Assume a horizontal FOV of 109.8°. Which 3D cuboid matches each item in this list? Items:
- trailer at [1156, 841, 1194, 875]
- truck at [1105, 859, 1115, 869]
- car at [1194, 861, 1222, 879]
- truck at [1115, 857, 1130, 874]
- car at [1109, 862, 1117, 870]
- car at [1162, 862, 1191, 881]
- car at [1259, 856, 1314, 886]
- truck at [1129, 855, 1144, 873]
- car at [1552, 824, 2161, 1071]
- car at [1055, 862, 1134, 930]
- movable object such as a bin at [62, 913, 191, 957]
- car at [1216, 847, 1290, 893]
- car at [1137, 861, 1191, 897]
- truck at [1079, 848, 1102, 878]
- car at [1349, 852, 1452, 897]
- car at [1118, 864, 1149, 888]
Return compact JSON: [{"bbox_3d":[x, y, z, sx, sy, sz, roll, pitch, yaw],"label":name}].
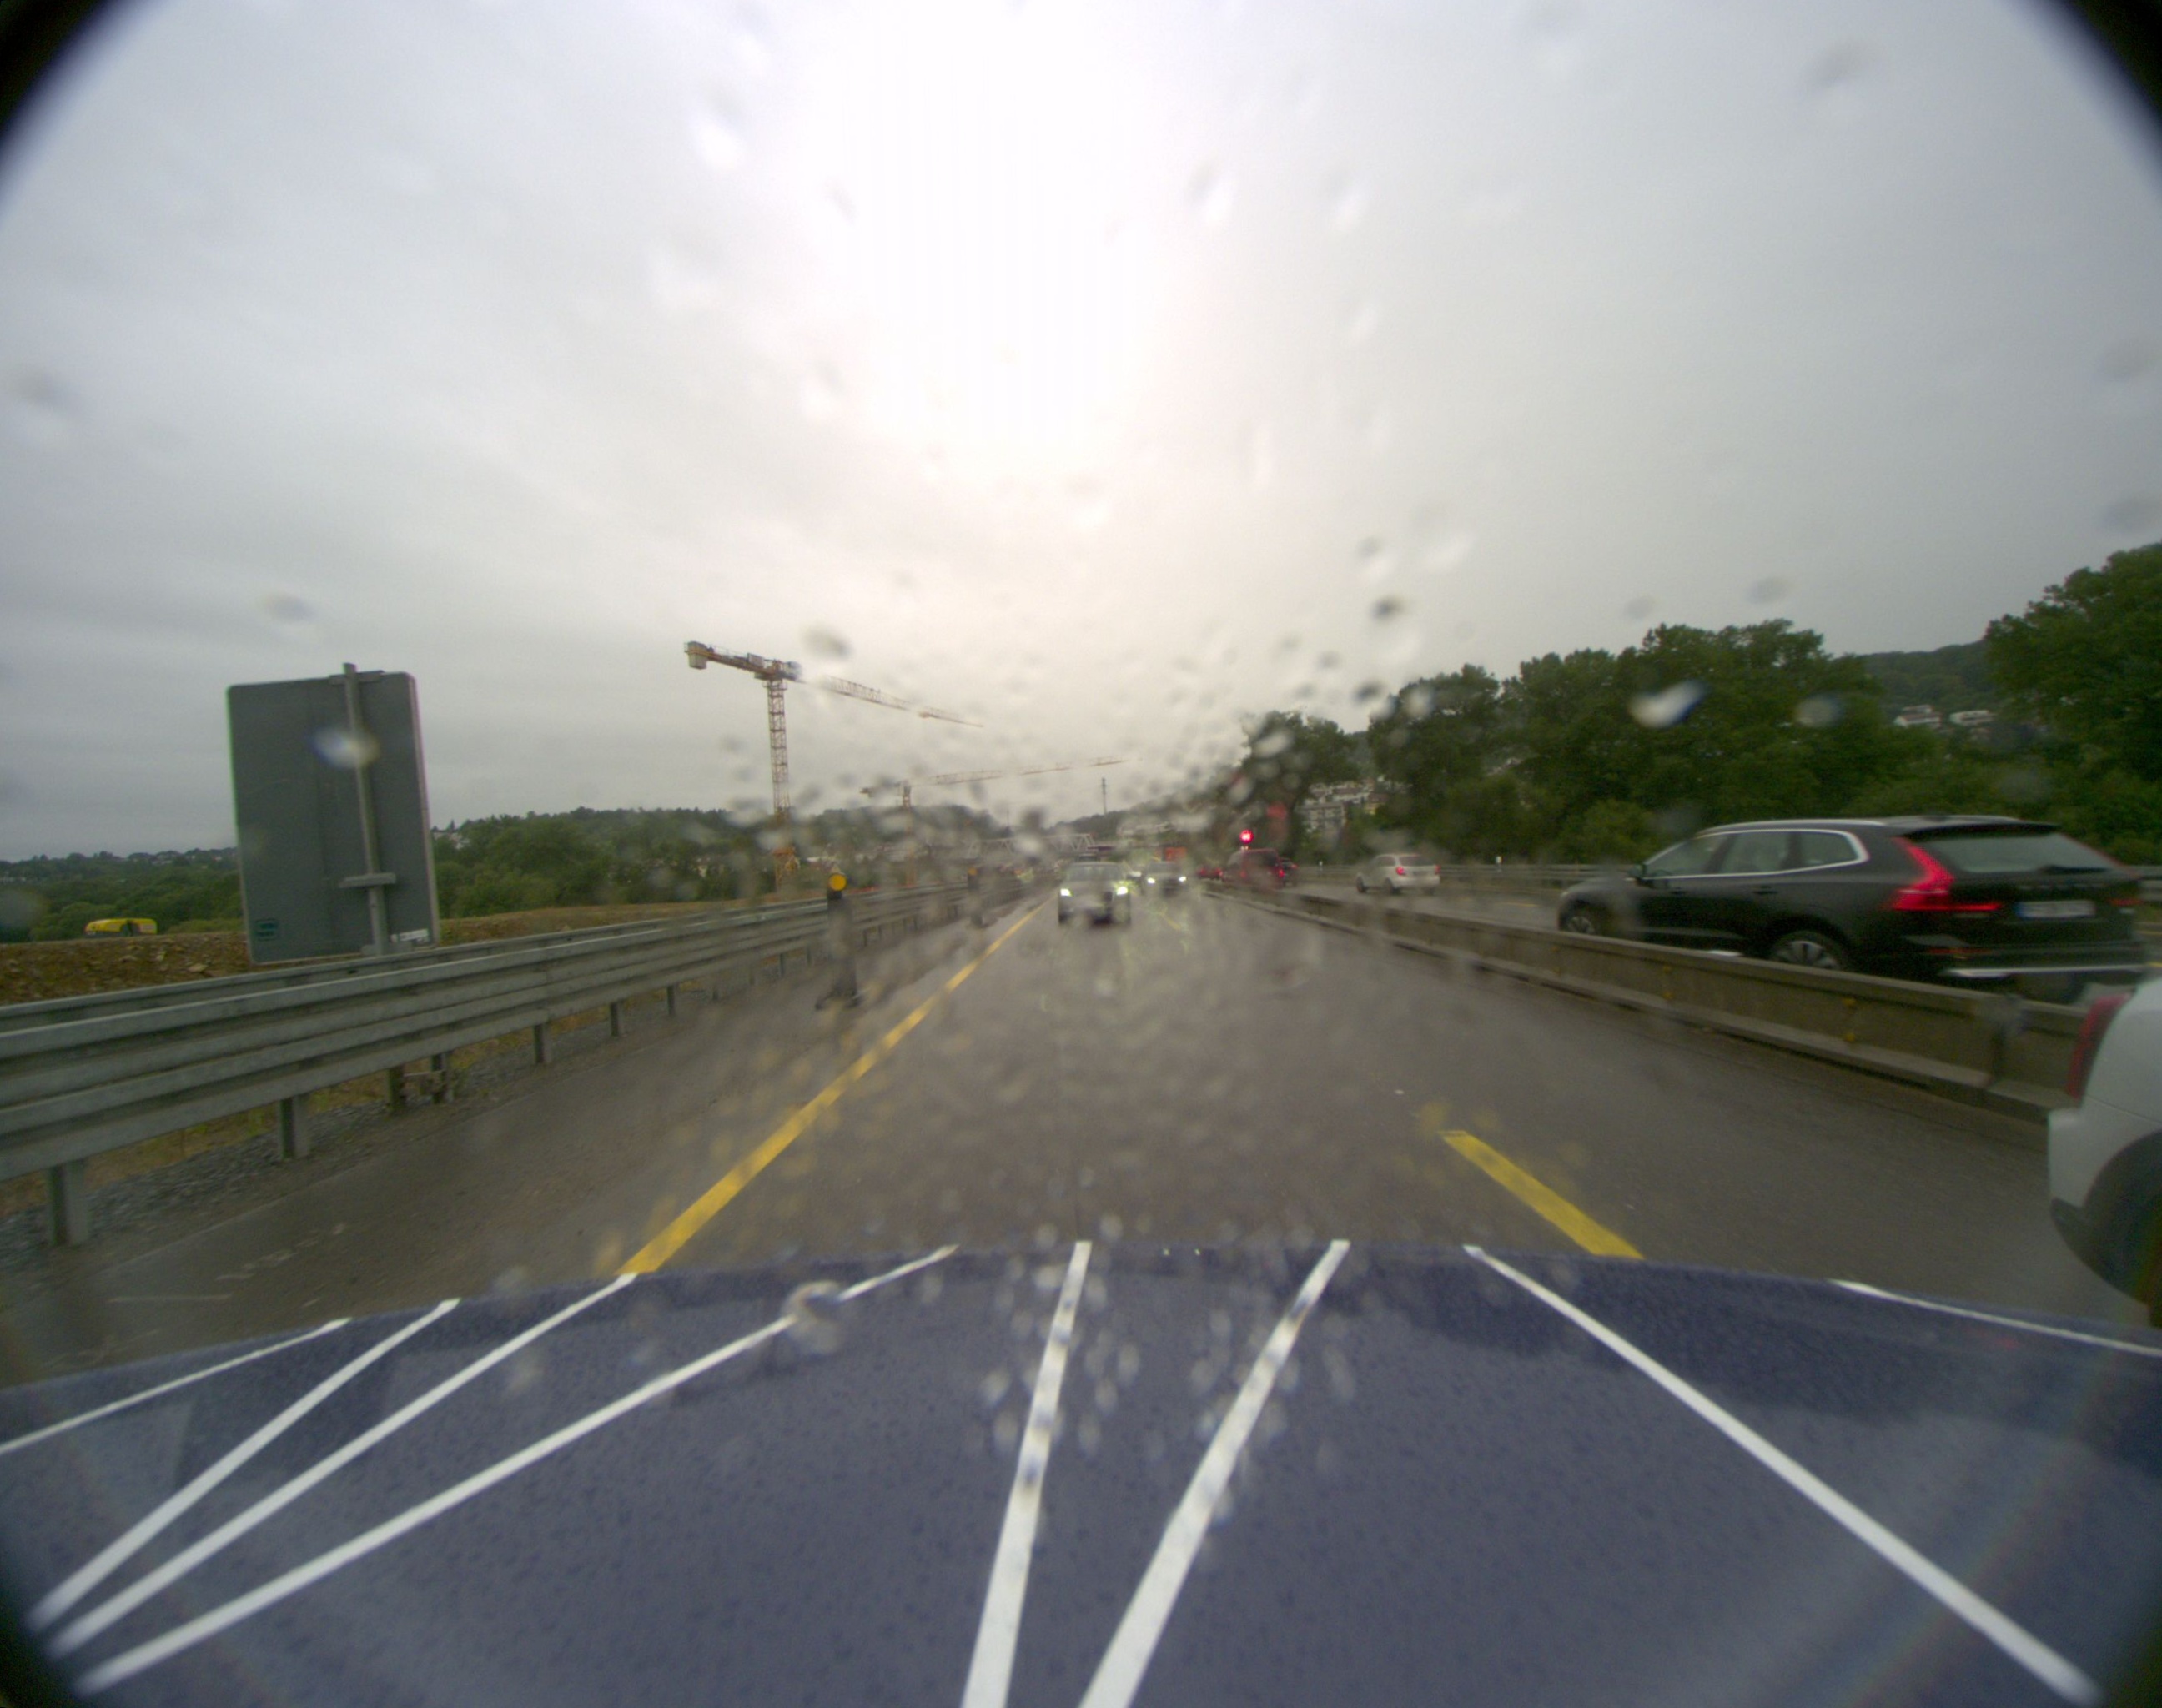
[{"bbox_3d":[11.837,0.624,97.286,3.285,3.885,13.701,-2,-1,1],"label":"trailer"},{"bbox_3d":[8.908,2.980,232.422,2.800,2.769,5.498,-2,0,0],"label":"truck"},{"bbox_3d":[11.327,1.396,68.029,1.822,1.501,4.306,-2,0,1],"label":"car"},{"bbox_3d":[7.680,2.015,141.109,2.413,2.976,6.539,-2,0,1],"label":"truck"},{"bbox_3d":[8.483,3.177,201.943,2.165,2.001,4.479,0,-1,1],"label":"car"},{"bbox_3d":[7.590,1.403,60.612,1.912,1.440,4.412,0,-1,1],"label":"car"},{"bbox_3d":[10.998,0.906,40.867,1.825,1.487,4.001,-2,-1,0],"label":"car"},{"bbox_3d":[11.637,2.013,160.531,2.607,3.605,6.539,-2,0,1],"label":"truck"},{"bbox_3d":[6.932,0.631,7.343,1.998,1.645,4.470,-1,0,0],"label":"car"},{"bbox_3d":[0.358,1.005,19.795,1.781,1.514,4.141,-2,-1,1],"label":"car"},{"bbox_3d":[-35.213,2.947,28.128,1.391,1.293,2.705,-2,0,-3],"label":"movable object such as a bin"},{"bbox_3d":[6.918,0.647,31.066,1.850,1.737,4.845,0,-1,-1],"label":"car"},{"bbox_3d":[3.655,1.063,34.109,1.951,1.430,4.484,-2,0,1],"label":"car"},{"bbox_3d":[1.190,1.110,94.060,2.575,3.450,6.627,-2,0,1],"label":"truck"},{"bbox_3d":[11.900,0.772,28.639,1.851,1.567,4.270,0,-1,-4],"label":"car"},{"bbox_3d":[3.411,1.407,50.304,1.781,1.430,4.484,-2,0,1],"label":"car"}]
